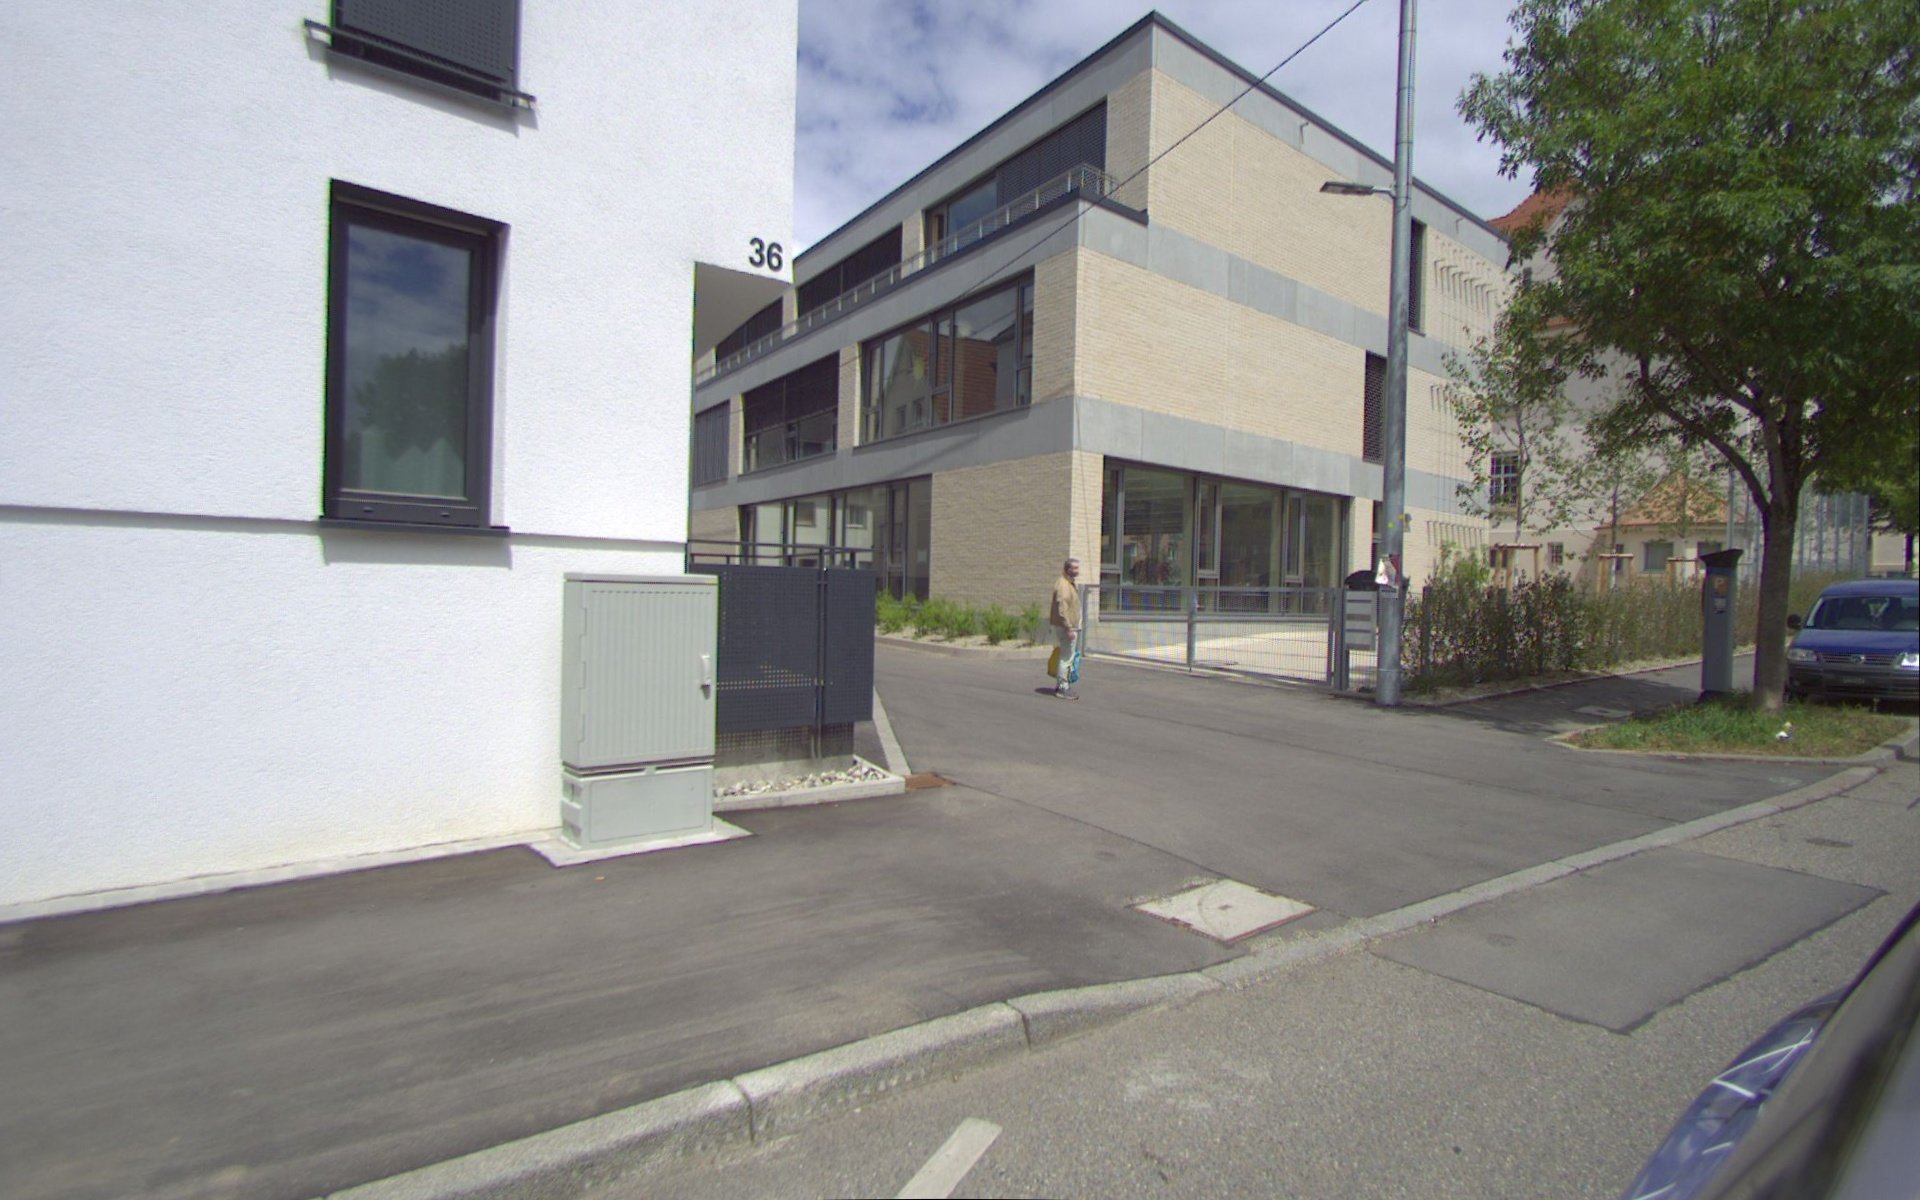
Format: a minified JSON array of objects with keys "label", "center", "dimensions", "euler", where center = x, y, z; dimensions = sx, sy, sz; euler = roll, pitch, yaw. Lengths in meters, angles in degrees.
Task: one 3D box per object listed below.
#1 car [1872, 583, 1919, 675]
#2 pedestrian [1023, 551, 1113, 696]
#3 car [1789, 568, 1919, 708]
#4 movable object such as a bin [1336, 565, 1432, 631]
[{"label":"car","center":[17.745,0.488,18.087],"dimensions":[3.605,1.538,1.677],"euler":[0,2,-40]},{"label":"pedestrian","center":[1.340,0.268,12.606],"dimensions":[0.815,1.725,0.774],"euler":[0,0,-42]},{"label":"car","center":[13.370,0.441,14.417],"dimensions":[4.086,1.765,1.698],"euler":[-1,2,-40]},{"label":"movable object such as a bin","center":[9.799,-0.057,23.388],"dimensions":[1.774,1.465,1.351],"euler":[0,1,-39]}]
